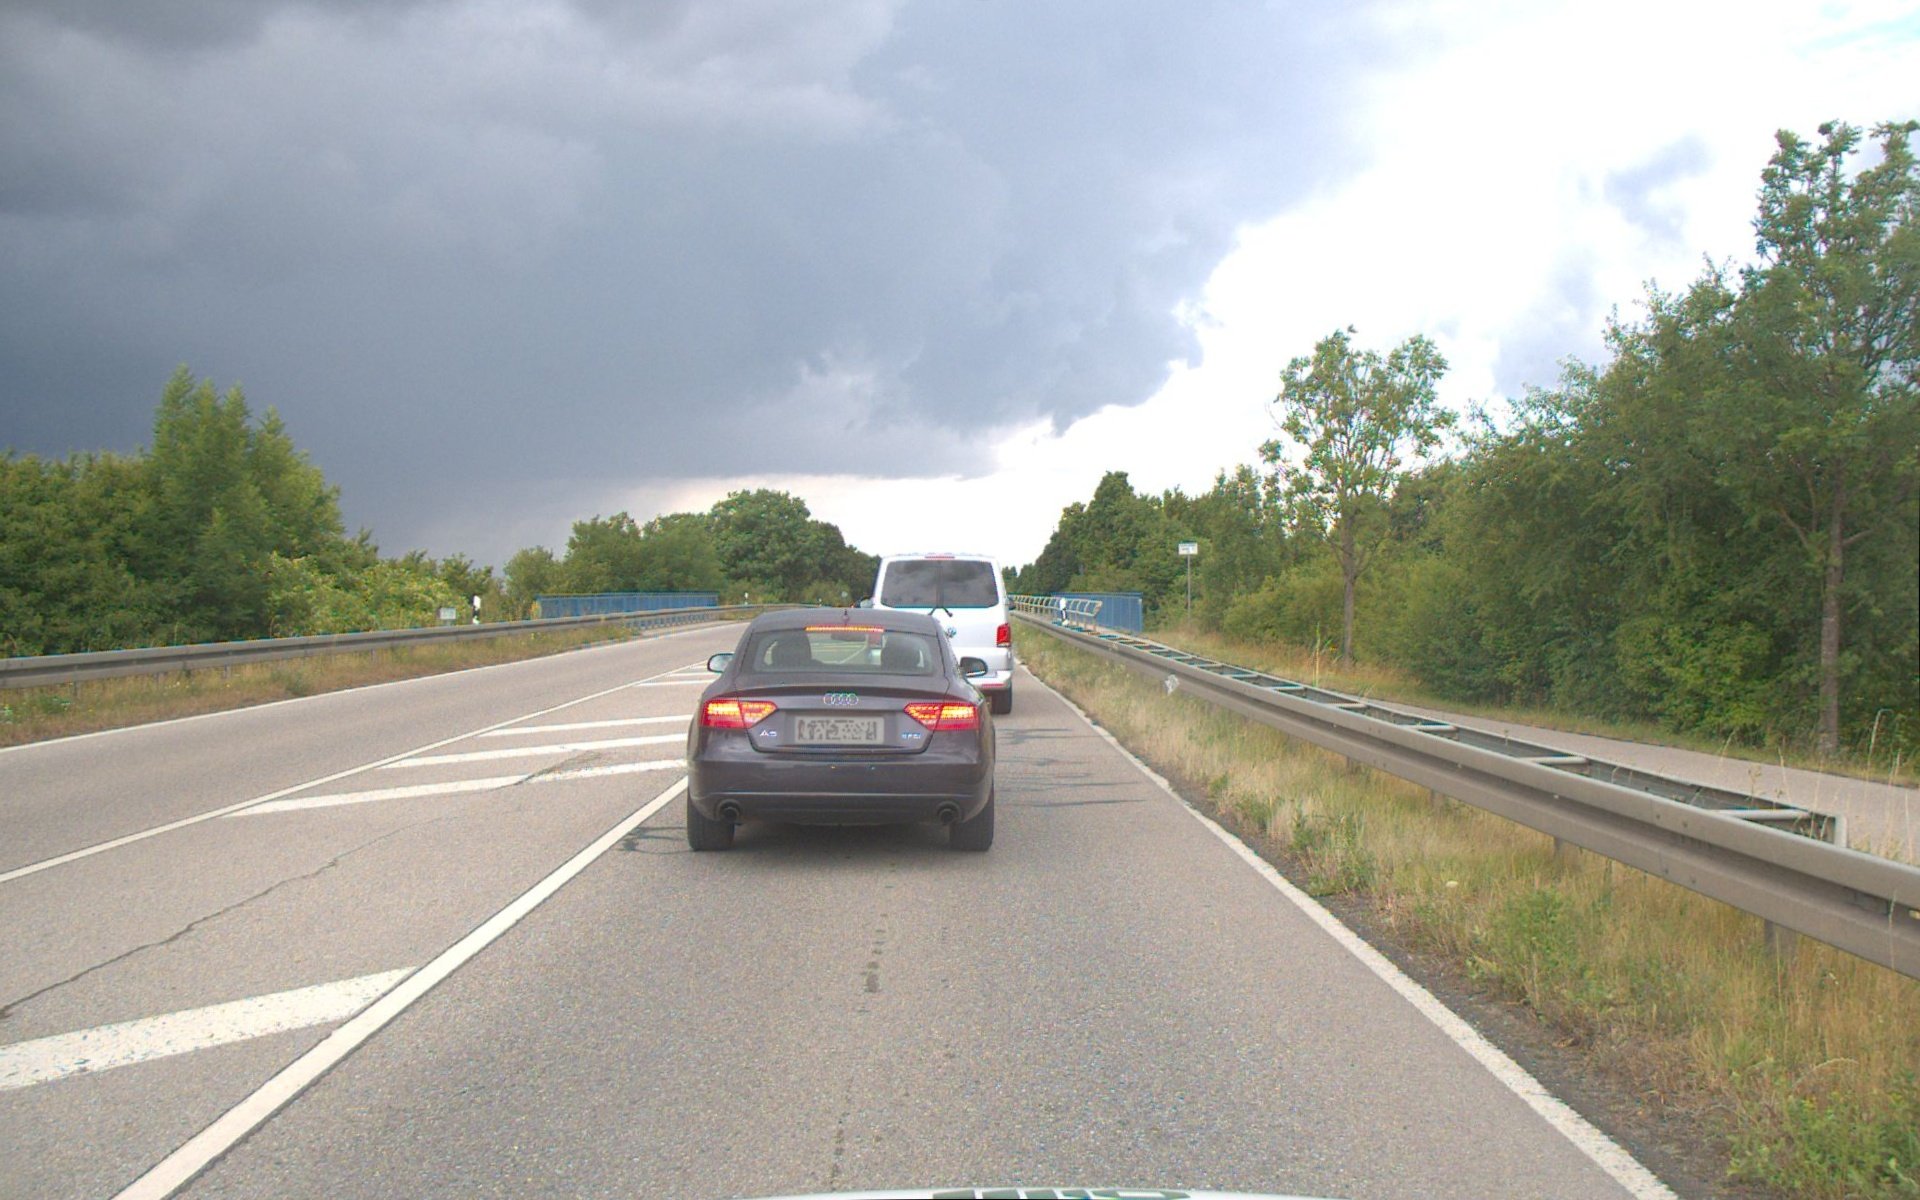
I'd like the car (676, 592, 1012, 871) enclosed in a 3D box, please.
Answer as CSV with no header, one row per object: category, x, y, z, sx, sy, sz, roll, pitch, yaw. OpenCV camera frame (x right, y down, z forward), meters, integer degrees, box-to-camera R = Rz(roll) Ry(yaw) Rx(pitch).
car,-0.643,0.702,10.703,1.749,1.448,3.999,1,0,-1

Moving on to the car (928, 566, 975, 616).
car,-0.477,-0.483,88.427,2.397,2.548,5.041,1,0,-1

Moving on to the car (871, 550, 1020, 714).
car,-0.206,0.390,21.683,1.749,1.923,3.999,1,0,-1
